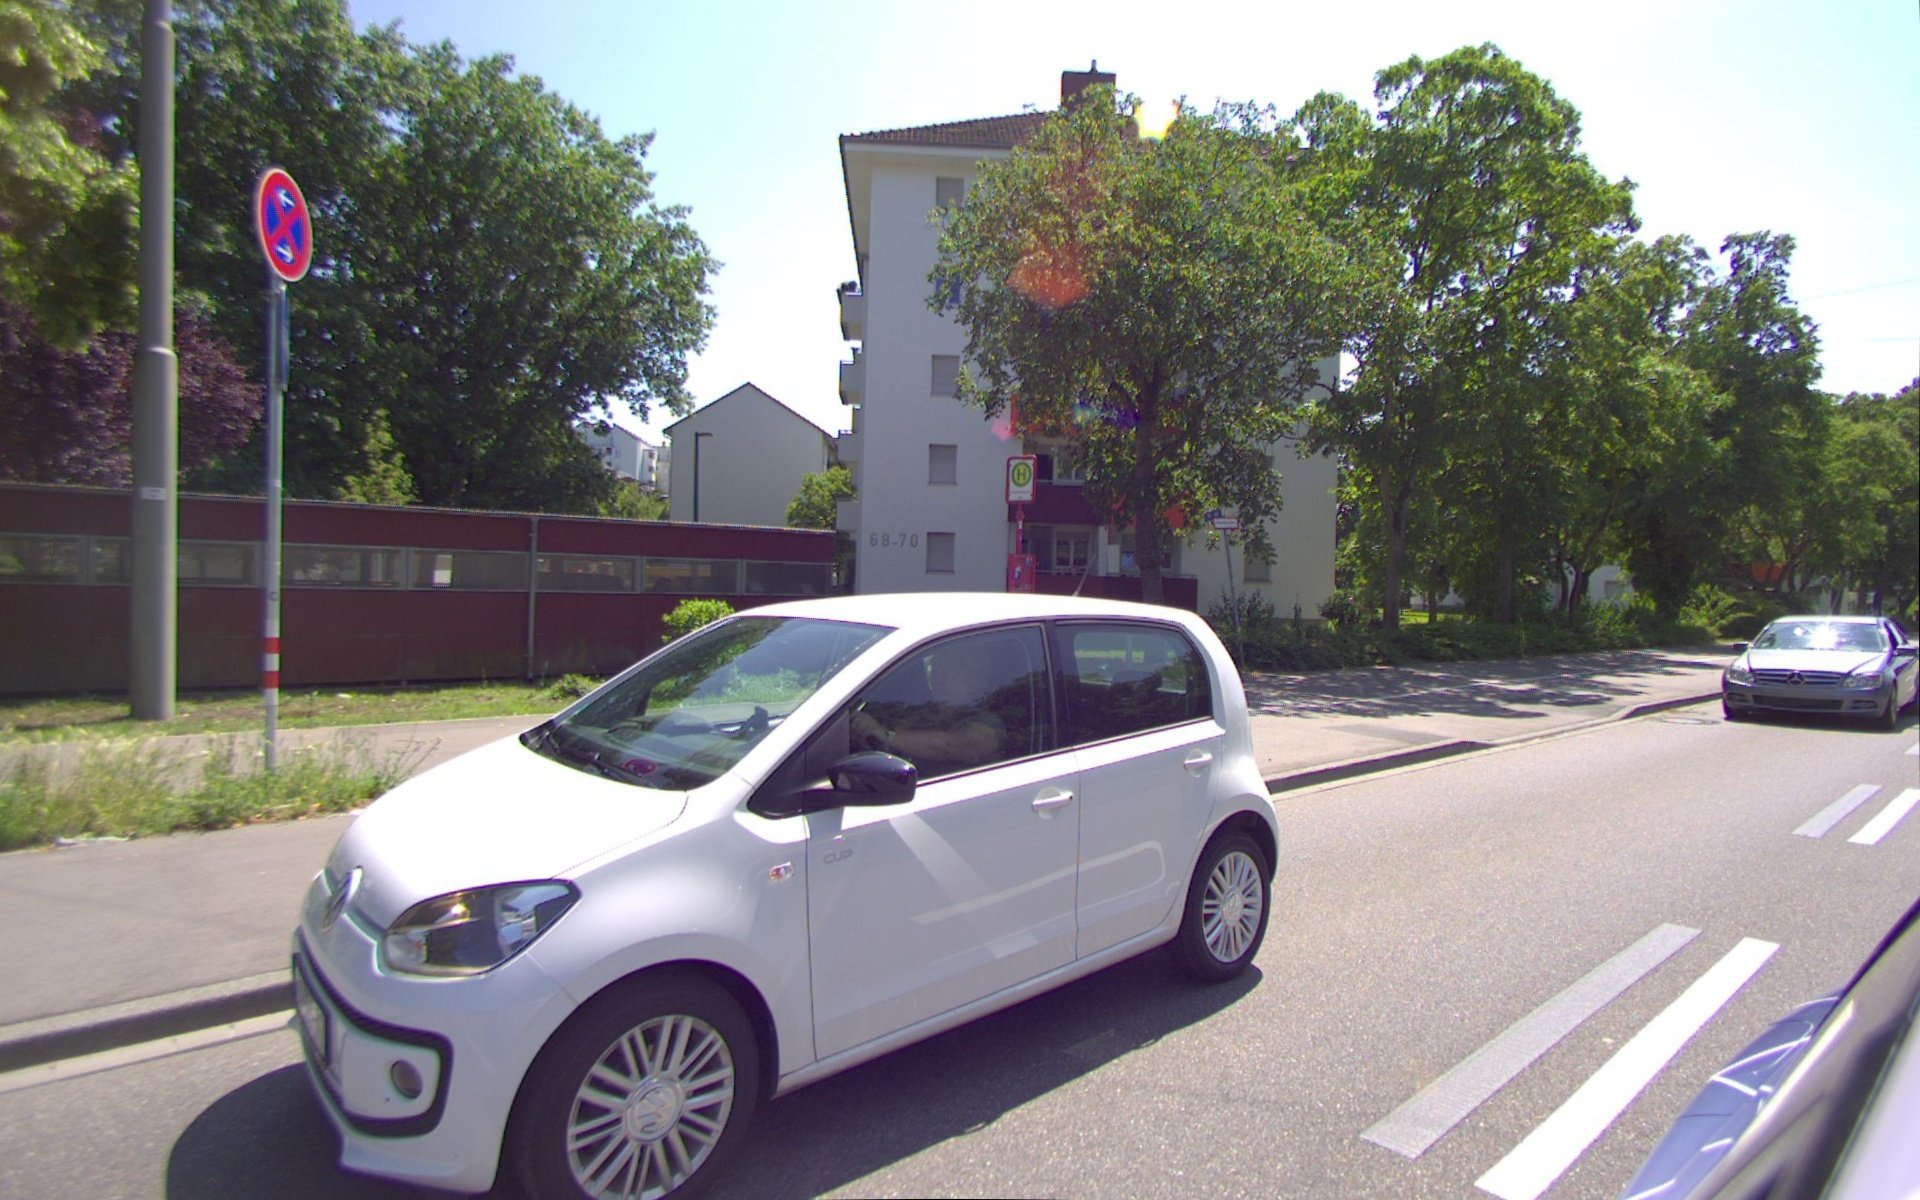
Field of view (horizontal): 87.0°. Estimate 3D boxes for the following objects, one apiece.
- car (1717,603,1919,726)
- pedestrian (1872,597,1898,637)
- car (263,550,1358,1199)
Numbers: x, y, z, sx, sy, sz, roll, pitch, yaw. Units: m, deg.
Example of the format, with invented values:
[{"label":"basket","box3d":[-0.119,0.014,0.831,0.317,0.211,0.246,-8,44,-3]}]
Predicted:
[{"label":"car","box3d":[12.299,0.806,14.197,3.901,1.478,1.902,1,-1,-41]},{"label":"pedestrian","box3d":[39.014,0.701,42.681,0.841,1.664,0.670,0,0,-39]},{"label":"car","box3d":[-0.229,0.639,3.803,3.787,1.468,1.662,0,0,-41]}]
